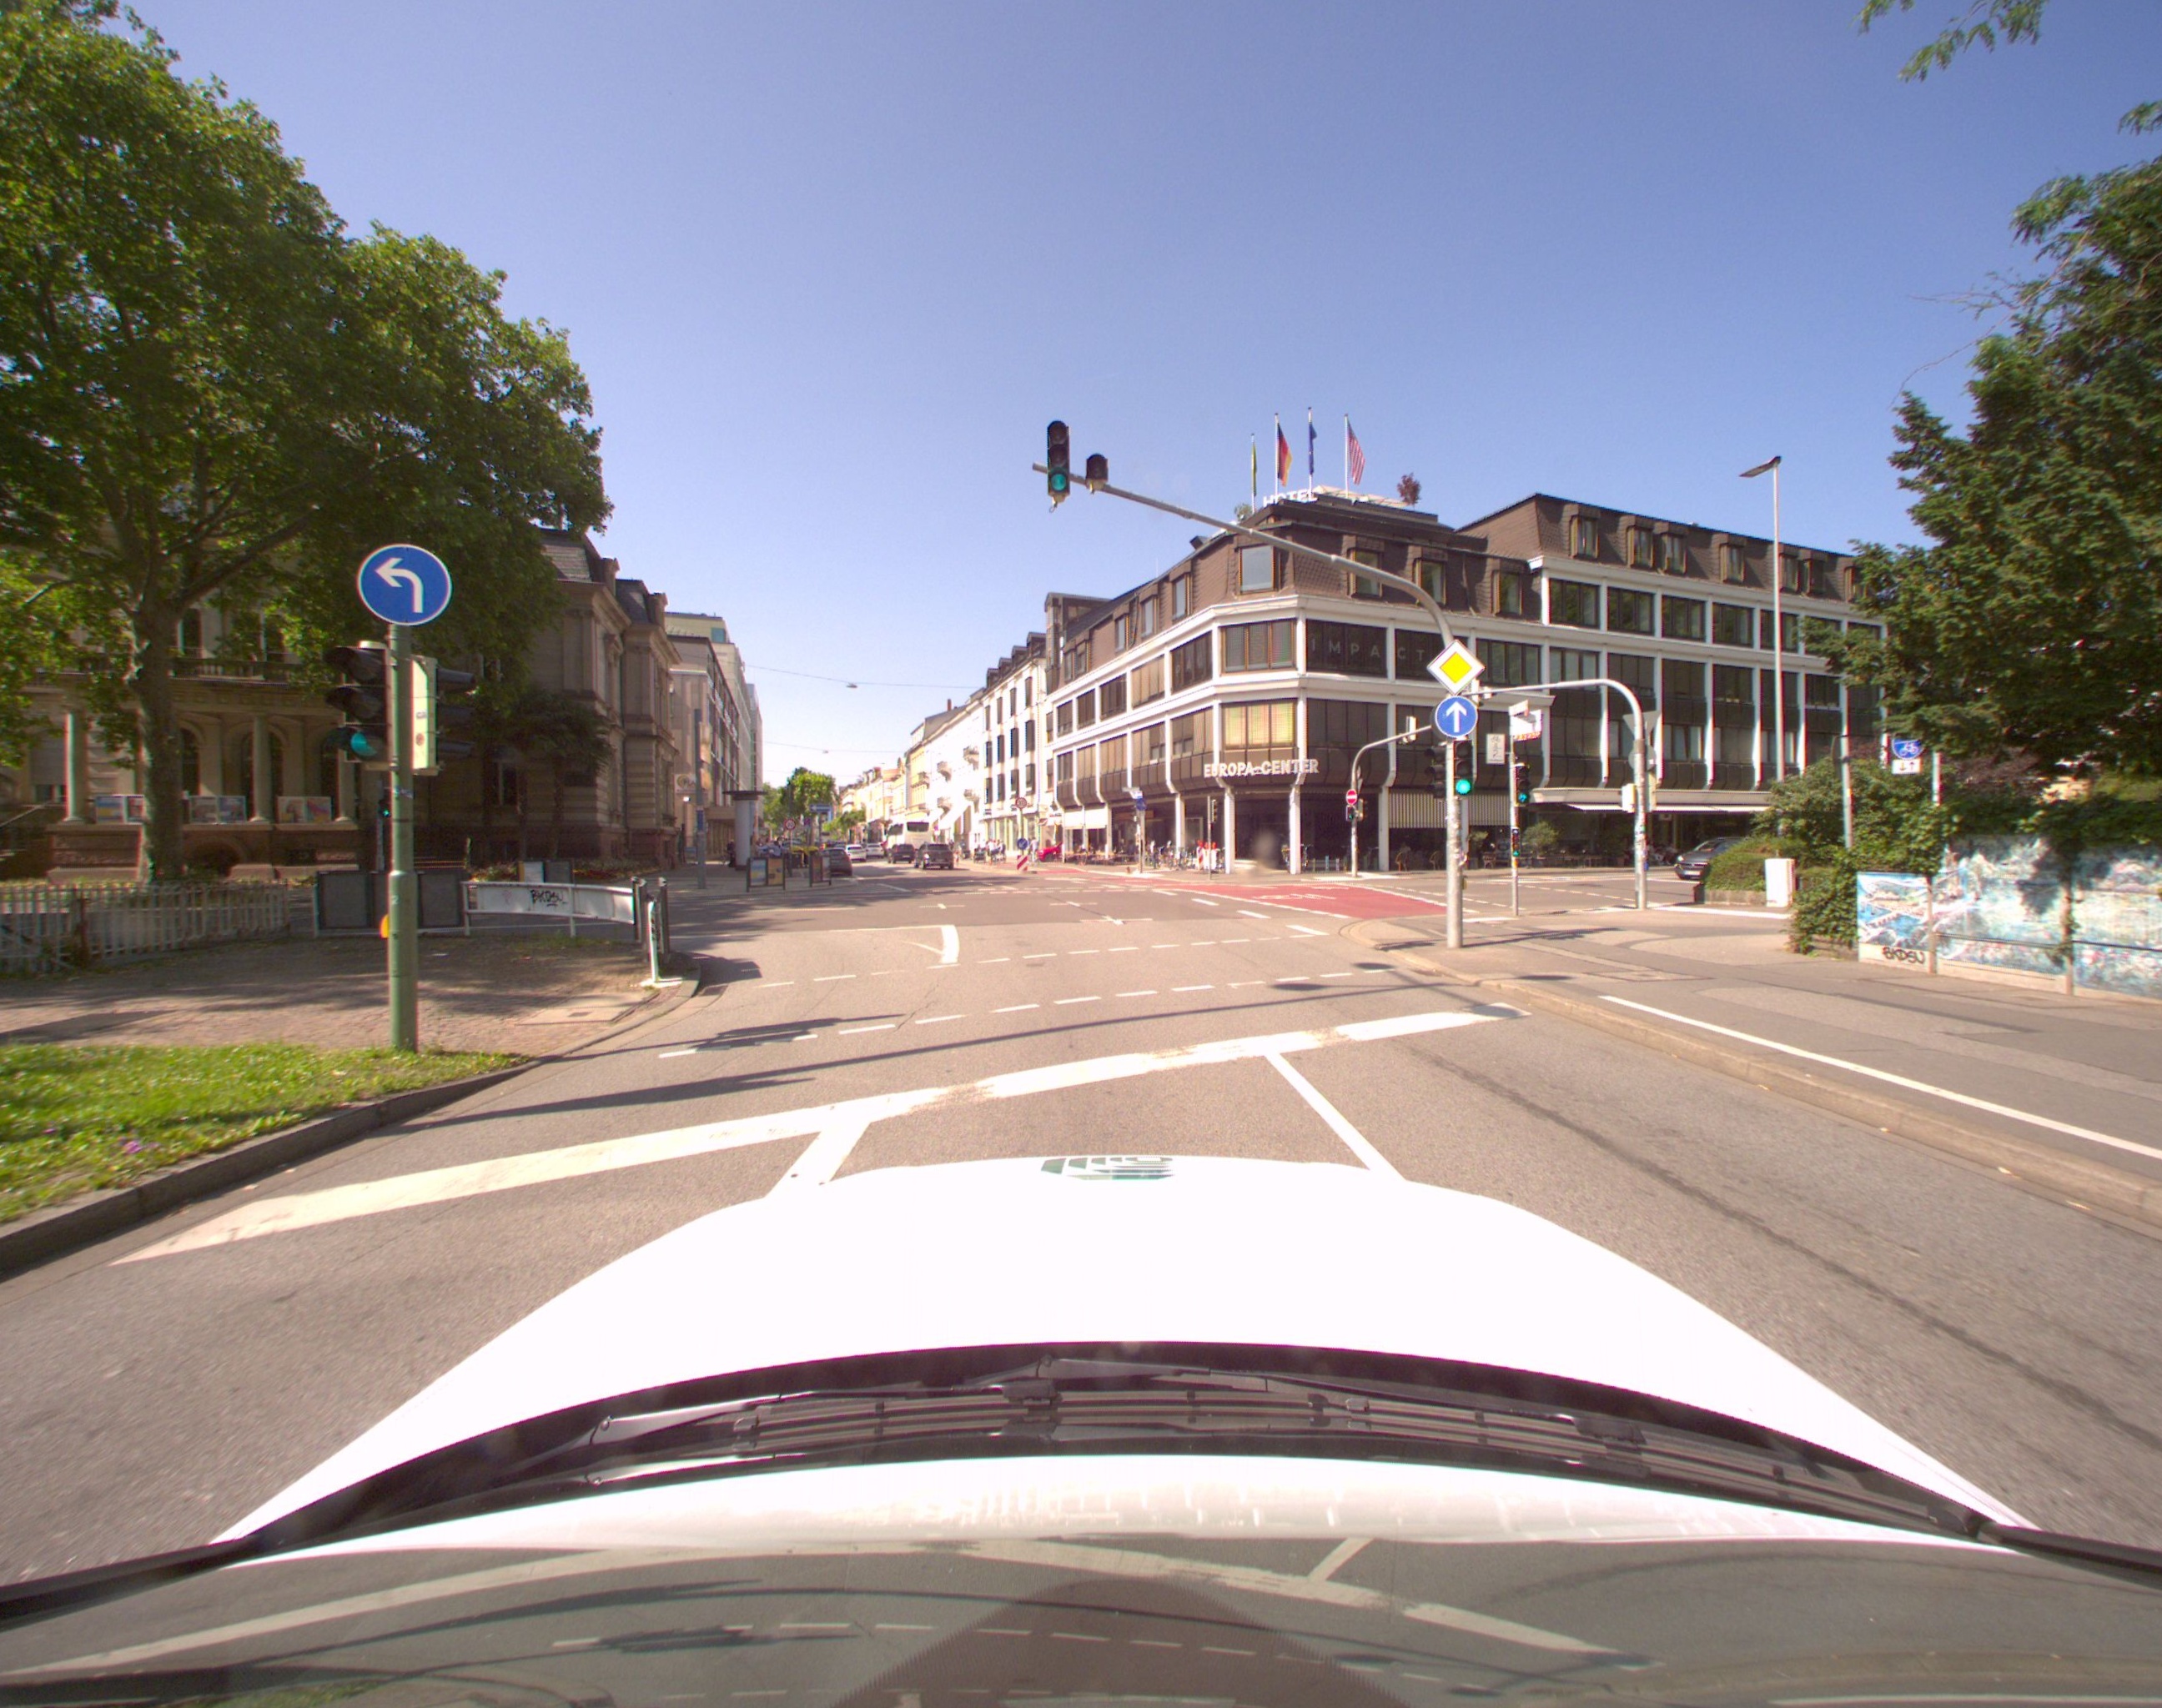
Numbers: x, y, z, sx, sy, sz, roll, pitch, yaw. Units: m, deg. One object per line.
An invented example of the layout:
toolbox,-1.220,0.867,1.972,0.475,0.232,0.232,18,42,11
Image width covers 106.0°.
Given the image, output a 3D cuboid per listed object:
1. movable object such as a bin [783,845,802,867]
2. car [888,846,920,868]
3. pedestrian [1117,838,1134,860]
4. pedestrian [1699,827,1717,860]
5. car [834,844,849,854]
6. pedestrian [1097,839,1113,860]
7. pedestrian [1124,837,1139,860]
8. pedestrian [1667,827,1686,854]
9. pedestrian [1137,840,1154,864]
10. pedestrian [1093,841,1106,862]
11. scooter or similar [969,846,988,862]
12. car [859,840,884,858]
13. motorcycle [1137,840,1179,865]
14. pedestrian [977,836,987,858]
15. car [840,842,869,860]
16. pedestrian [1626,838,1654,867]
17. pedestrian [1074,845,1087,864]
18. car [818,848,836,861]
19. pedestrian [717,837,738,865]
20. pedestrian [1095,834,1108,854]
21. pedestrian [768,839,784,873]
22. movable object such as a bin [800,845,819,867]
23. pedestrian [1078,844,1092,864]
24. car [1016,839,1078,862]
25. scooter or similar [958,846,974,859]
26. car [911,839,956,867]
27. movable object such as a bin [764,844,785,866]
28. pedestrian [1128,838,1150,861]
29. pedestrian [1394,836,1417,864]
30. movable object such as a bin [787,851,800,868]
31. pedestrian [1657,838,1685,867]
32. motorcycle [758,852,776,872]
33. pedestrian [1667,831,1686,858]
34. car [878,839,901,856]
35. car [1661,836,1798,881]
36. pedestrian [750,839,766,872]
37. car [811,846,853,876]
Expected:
movable object such as a bin,-19.918,0.150,56.243,1.125,1.450,1.432,1,1,-14
car,-13.212,0.230,60.541,1.839,1.527,3.975,-3,0,-19
pedestrian,2.776,-0.301,51.207,0.816,1.396,0.691,-1,0,-22
pedestrian,33.199,-0.569,43.123,0.486,1.757,0.583,-1,1,-21
car,-36.465,-0.763,123.923,1.870,1.441,3.973,-1,1,-20
pedestrian,1.613,-0.296,54.882,0.880,1.367,0.533,-1,1,-21
pedestrian,3.121,-0.348,50.443,0.714,1.396,0.692,-1,-1,-21
pedestrian,31.039,-0.680,42.435,0.569,1.393,0.569,-1,1,-21
pedestrian,3.842,-0.115,48.475,0.714,1.396,0.692,-1,-1,-21
pedestrian,1.279,-0.187,55.246,0.764,1.367,0.475,-1,1,-21
scooter or similar,-7.585,-0.013,60.105,0.965,1.135,1.574,-1,1,-23
car,-20.115,-0.483,78.053,1.840,1.527,3.972,-3,0,-20
motorcycle,4.247,-0.072,44.758,2.223,1.290,0.951,-1,0,8
pedestrian,-7.678,-0.567,63.274,0.622,1.719,0.830,-1,1,-19
car,-18.394,-0.228,66.058,1.870,1.441,3.972,0,0,-21
pedestrian,27.483,-0.093,40.017,0.929,1.393,0.753,-1,1,-21
pedestrian,-0.035,0.014,50.685,0.712,1.173,0.694,-1,0,-12
car,-29.739,0.063,95.265,1.870,1.441,3.972,-1,-1,-20
pedestrian,-22.715,-0.172,52.355,1.007,1.773,0.776,-1,0,-40
pedestrian,1.415,-0.669,55.873,0.747,1.367,0.580,-1,1,-21
pedestrian,-15.464,0.078,41.339,0.696,1.695,0.687,-1,-1,-18
movable object such as a bin,-18.825,0.123,56.536,1.125,1.450,1.432,1,1,-14
pedestrian,0.224,-0.018,49.874,0.712,1.217,0.694,-1,0,-12
car,-2.428,-0.258,57.807,4.057,1.494,1.830,-2,-1,-19
scooter or similar,-9.557,-0.150,67.766,1.126,1.101,1.078,-1,1,-22
car,-8.563,-0.020,47.088,1.840,1.527,3.971,1,0,-21
movable object such as a bin,-21.076,0.080,56.062,1.211,1.450,1.357,1,1,-14
pedestrian,3.497,-0.282,49.367,0.899,1.351,1.097,-1,0,-21
pedestrian,15.492,-0.206,38.915,0.818,1.334,0.978,0,1,34
movable object such as a bin,-19.371,0.349,54.838,0.726,1.098,0.651,0,1,-28
pedestrian,29.454,-0.092,40.645,0.929,1.393,0.753,-1,1,-21
motorcycle,-16.063,0.413,41.698,0.454,0.998,2.153,1,0,-10
pedestrian,31.050,-0.493,42.456,0.569,1.393,0.569,-1,1,-21
car,-21.845,-0.801,92.843,1.835,1.863,4.321,1,1,-23
car,22.128,0.122,27.806,4.098,1.363,1.847,-1,2,-20
pedestrian,-16.494,0.069,41.560,0.549,1.665,0.933,-1,0,-11
car,-12.763,0.340,41.562,1.942,1.354,4.223,-2,2,-19
